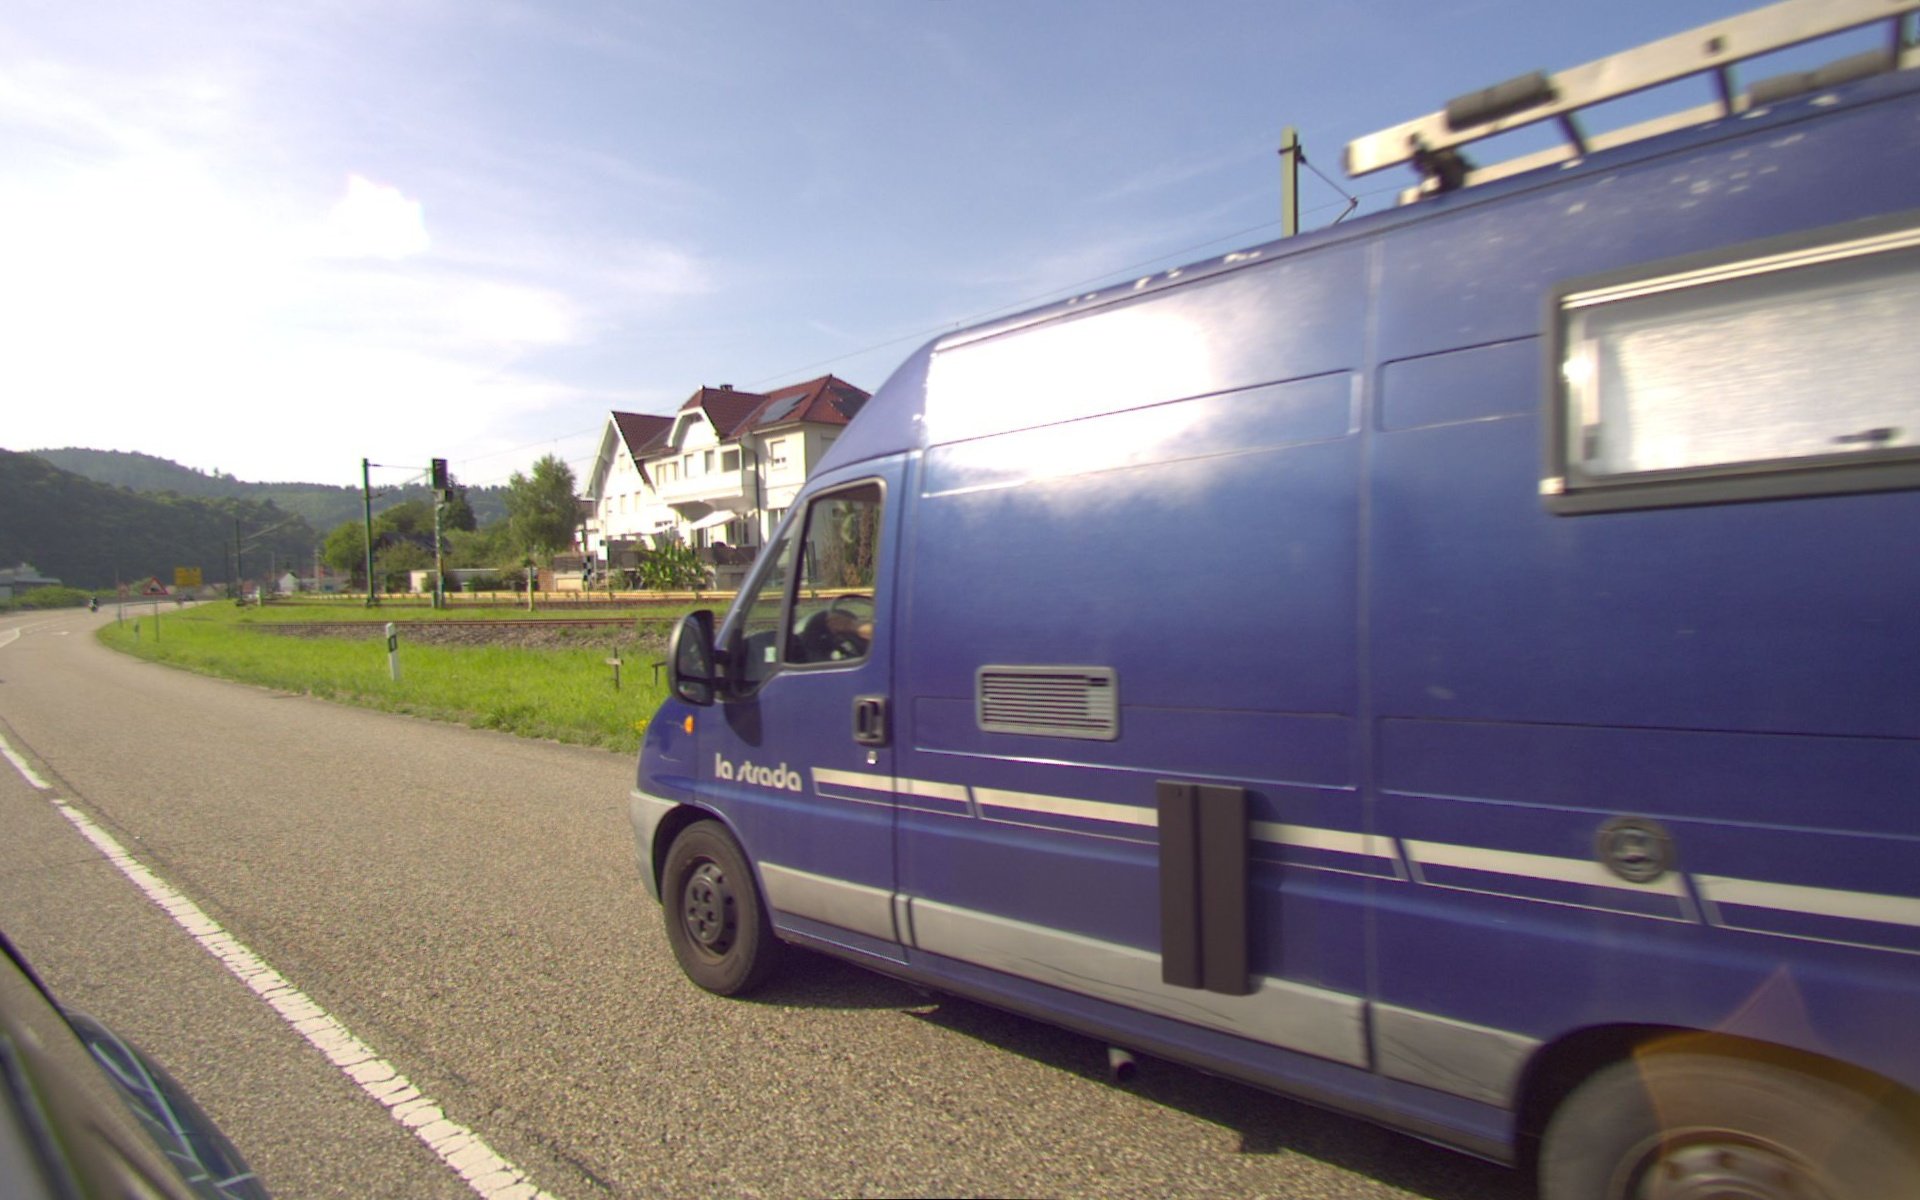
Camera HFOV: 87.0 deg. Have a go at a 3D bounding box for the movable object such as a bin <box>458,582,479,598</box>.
[{"bbox_3d":[-38.951,-0.826,80.267,1.093,1.200,1.127,-1,2,42],"label":"movable object such as a bin"}]

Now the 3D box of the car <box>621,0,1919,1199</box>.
[{"bbox_3d":[1.417,0.037,3.019,5.476,2.635,2.105,-1,-1,41],"label":"car"}]

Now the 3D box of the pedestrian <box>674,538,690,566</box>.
[{"bbox_3d":[-16.438,-2.827,59.838,0.677,1.628,0.600,-1,2,41],"label":"pedestrian"}]

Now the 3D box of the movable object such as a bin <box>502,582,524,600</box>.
[{"bbox_3d":[-31.551,-0.617,71.421,1.077,1.200,1.145,-4,2,-42],"label":"movable object such as a bin"}]

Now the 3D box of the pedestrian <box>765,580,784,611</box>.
[{"bbox_3d":[-9.905,-0.229,54.012,0.668,1.628,0.609,-4,2,-44],"label":"pedestrian"}]

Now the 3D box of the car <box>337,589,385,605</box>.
[{"bbox_3d":[-108.870,-0.621,183.956,6.966,2.475,2.958,-3,2,-20],"label":"car"}]

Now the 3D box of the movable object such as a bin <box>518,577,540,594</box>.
[{"bbox_3d":[-30.720,-1.030,72.194,1.077,1.200,1.145,-4,2,-42],"label":"movable object such as a bin"}]

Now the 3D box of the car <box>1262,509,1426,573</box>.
[{"bbox_3d":[11.421,-1.733,29.945,4.903,1.704,2.460,-3,2,-40],"label":"car"}]
